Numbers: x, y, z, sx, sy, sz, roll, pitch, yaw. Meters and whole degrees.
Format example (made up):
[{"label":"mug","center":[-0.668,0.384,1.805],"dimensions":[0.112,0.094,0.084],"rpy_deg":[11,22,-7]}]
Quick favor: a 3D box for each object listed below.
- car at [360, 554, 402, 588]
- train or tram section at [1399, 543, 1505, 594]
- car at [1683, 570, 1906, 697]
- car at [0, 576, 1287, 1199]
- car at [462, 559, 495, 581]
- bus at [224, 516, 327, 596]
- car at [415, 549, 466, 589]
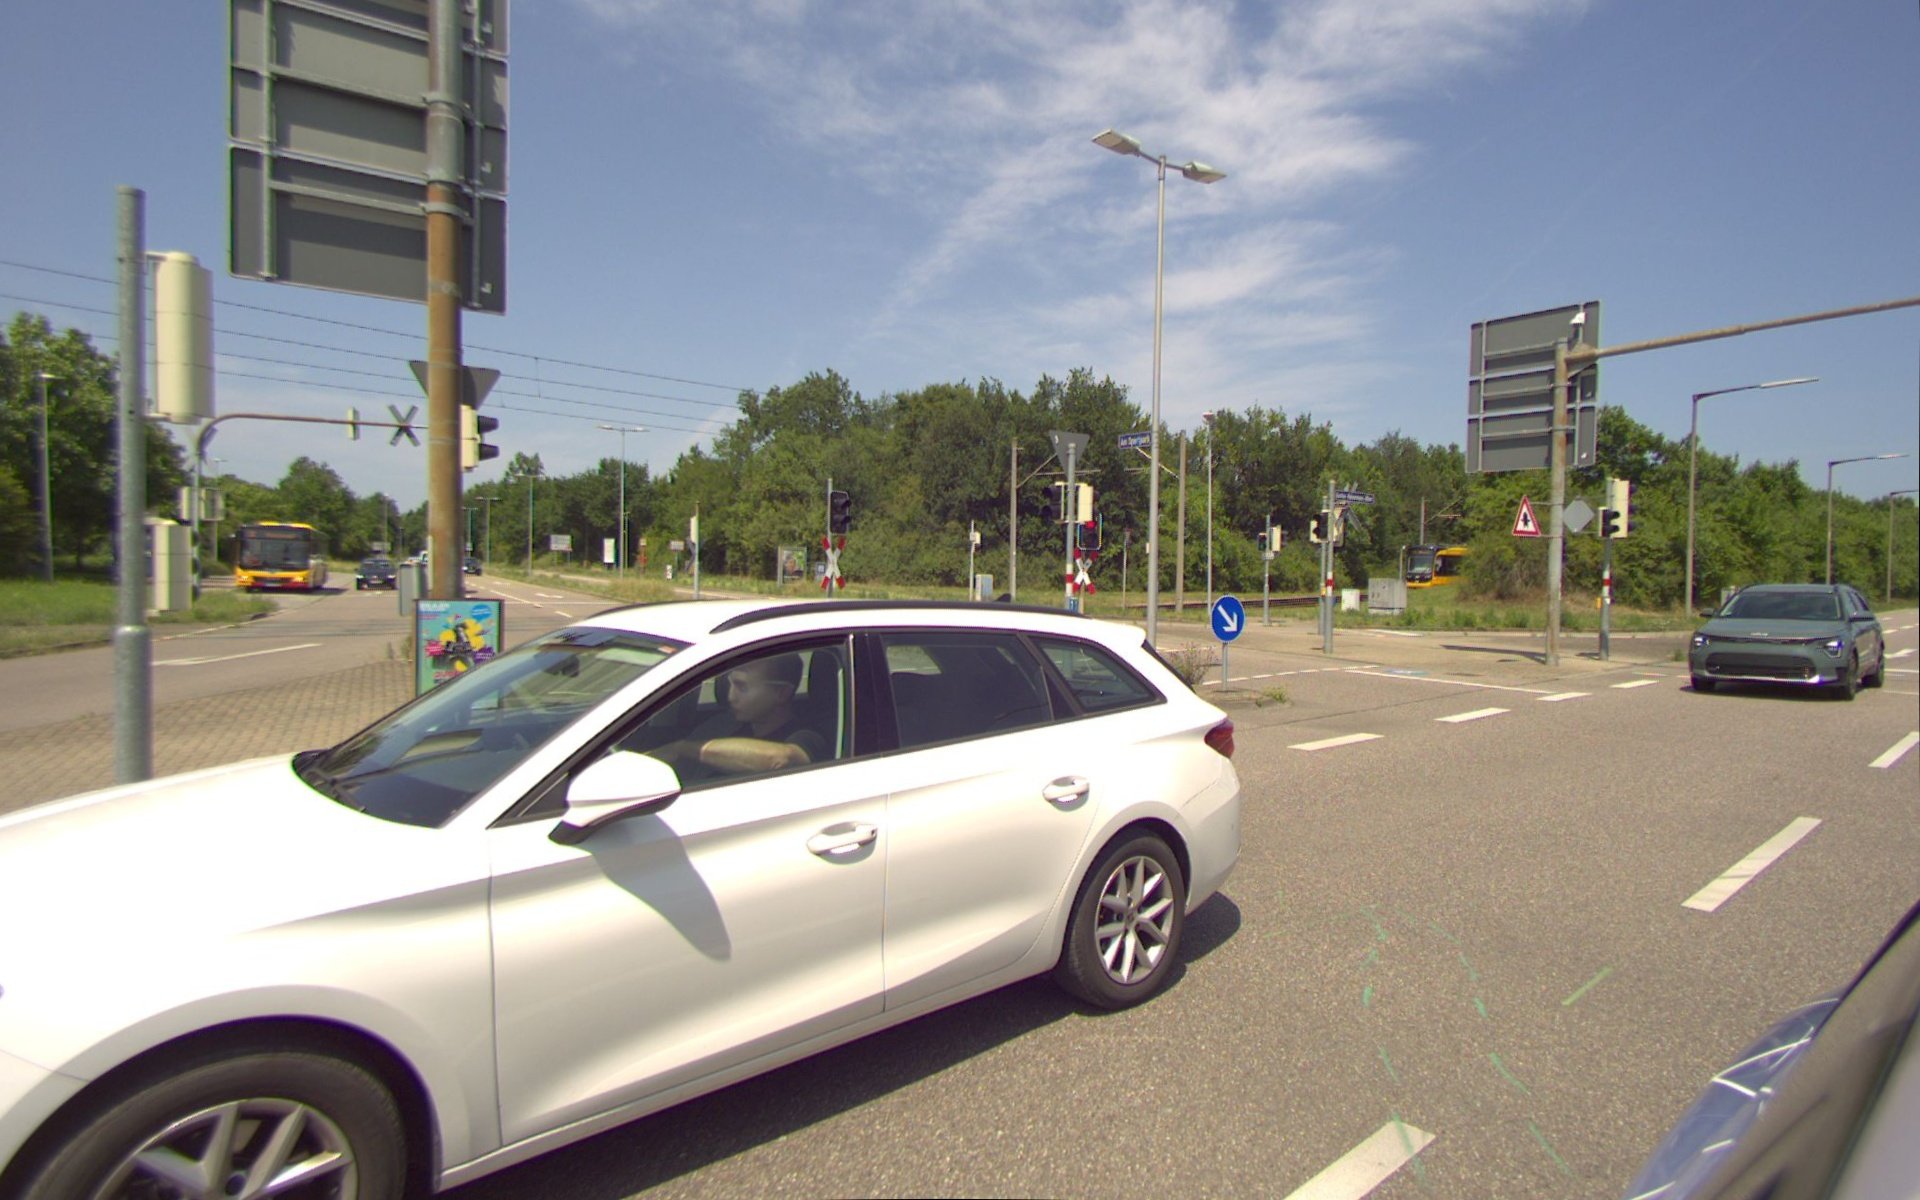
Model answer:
[{"label":"car","center":[-29.216,-1.462,51.166],"dimensions":[1.640,1.599,4.007],"rpy_deg":[0,1,-27]},{"label":"train or tram section","center":[37.561,-2.343,76.977],"dimensions":[12.287,3.626,2.818],"rpy_deg":[-1,2,-42]},{"label":"car","center":[12.318,0.388,14.867],"dimensions":[3.927,1.616,1.723],"rpy_deg":[-1,2,-38]},{"label":"car","center":[-0.847,0.632,3.363],"dimensions":[4.373,1.407,1.685],"rpy_deg":[-1,2,-41]},{"label":"car","center":[-40.298,-2.513,84.611],"dimensions":[1.961,1.811,4.002],"rpy_deg":[0,2,-33]},{"label":"bus","center":[-30.736,-1.918,45.917],"dimensions":[2.782,3.158,12.094],"rpy_deg":[-1,2,-29]},{"label":"car","center":[-24.235,-1.407,47.304],"dimensions":[1.790,1.750,5.082],"rpy_deg":[-1,1,-24]}]
